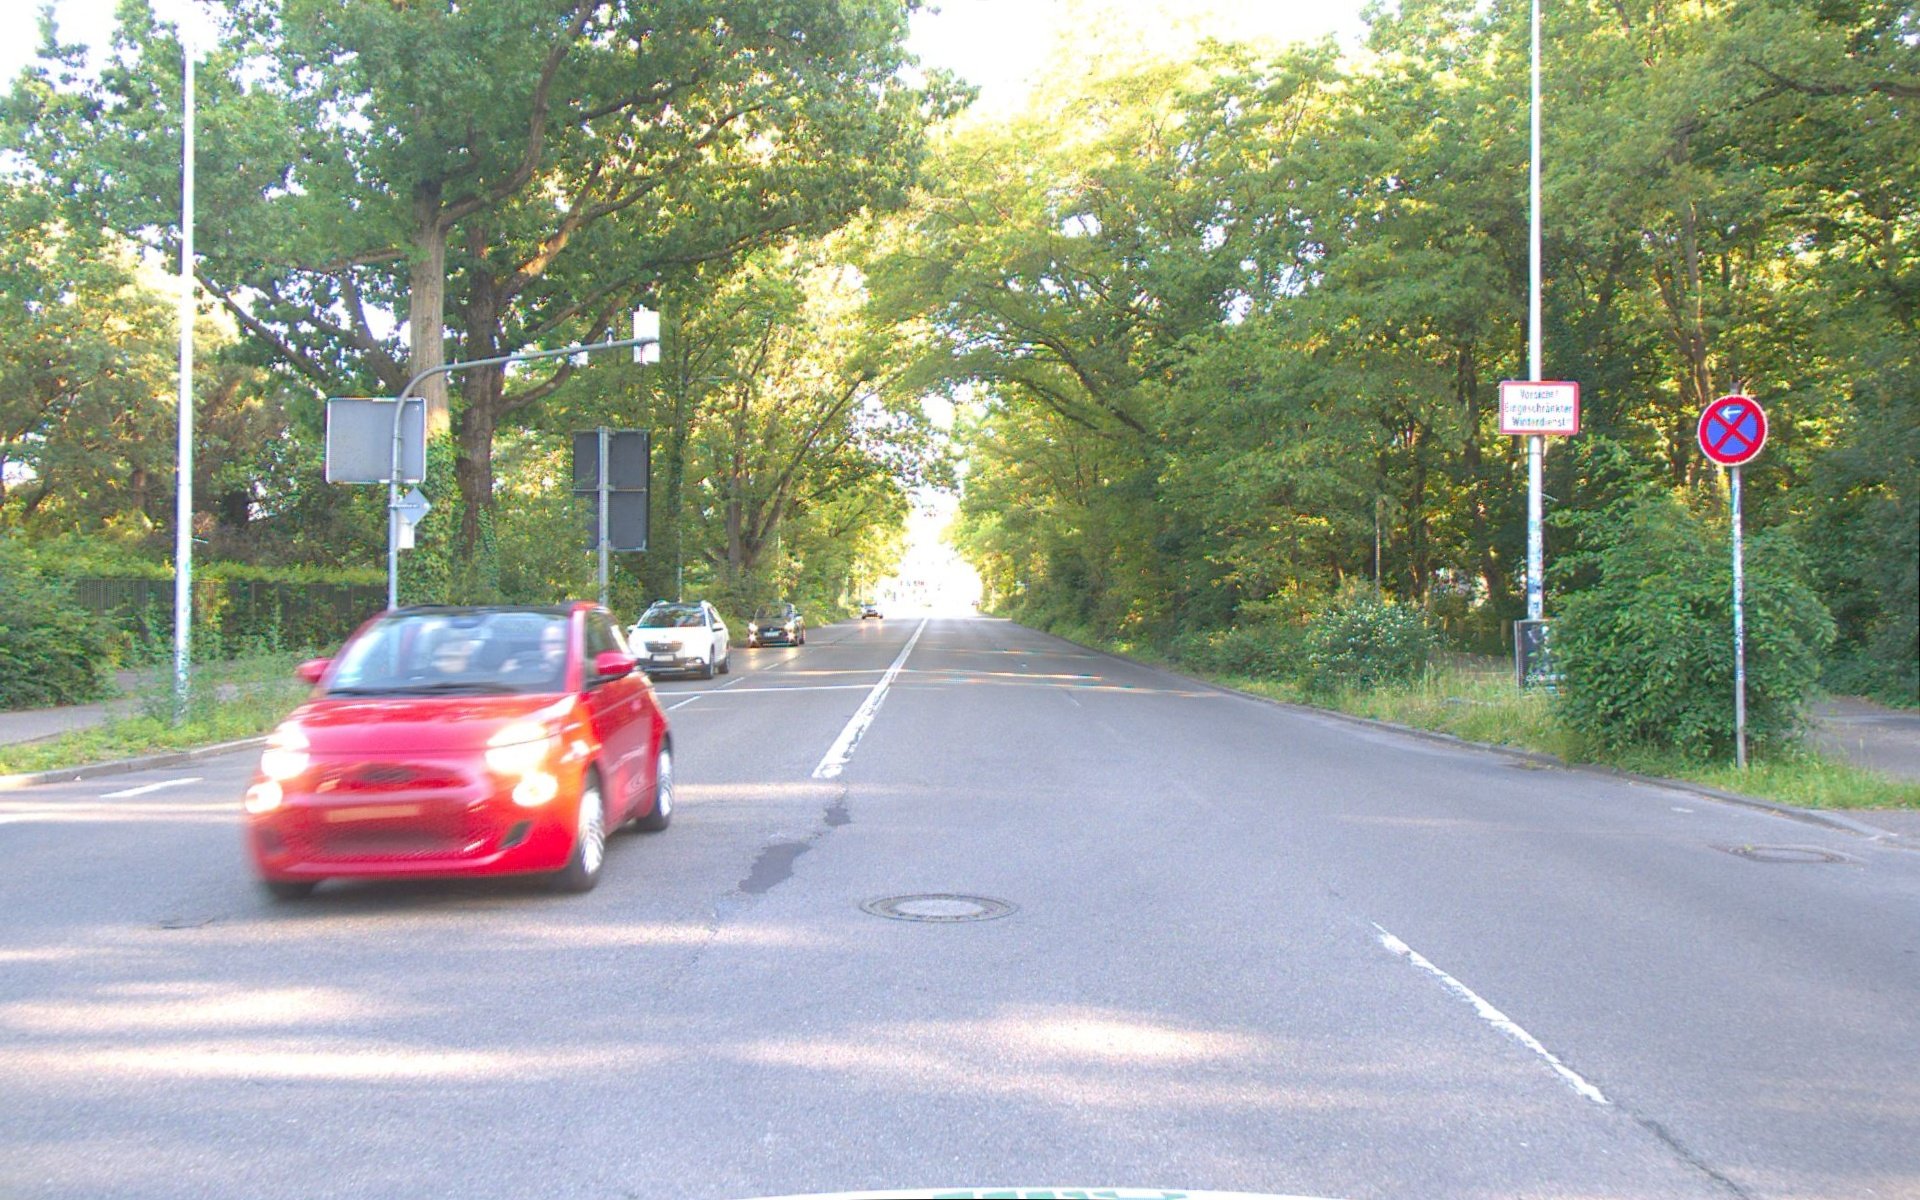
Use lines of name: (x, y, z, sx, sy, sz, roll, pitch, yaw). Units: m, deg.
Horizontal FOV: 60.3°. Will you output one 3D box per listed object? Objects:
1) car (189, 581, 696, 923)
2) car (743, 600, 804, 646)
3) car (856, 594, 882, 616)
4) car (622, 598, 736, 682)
car: (-2.647, 0.714, 9.351, 1.715, 1.482, 3.639, -2, -1, -1)
car: (-6.389, 0.774, 57.026, 1.673, 1.478, 3.639, -2, 0, -1)
car: (-7.073, 0.366, 128.473, 1.770, 1.607, 4.318, -2, 0, -1)
car: (-5.651, 0.767, 33.646, 1.643, 1.550, 3.901, -2, 0, -1)
